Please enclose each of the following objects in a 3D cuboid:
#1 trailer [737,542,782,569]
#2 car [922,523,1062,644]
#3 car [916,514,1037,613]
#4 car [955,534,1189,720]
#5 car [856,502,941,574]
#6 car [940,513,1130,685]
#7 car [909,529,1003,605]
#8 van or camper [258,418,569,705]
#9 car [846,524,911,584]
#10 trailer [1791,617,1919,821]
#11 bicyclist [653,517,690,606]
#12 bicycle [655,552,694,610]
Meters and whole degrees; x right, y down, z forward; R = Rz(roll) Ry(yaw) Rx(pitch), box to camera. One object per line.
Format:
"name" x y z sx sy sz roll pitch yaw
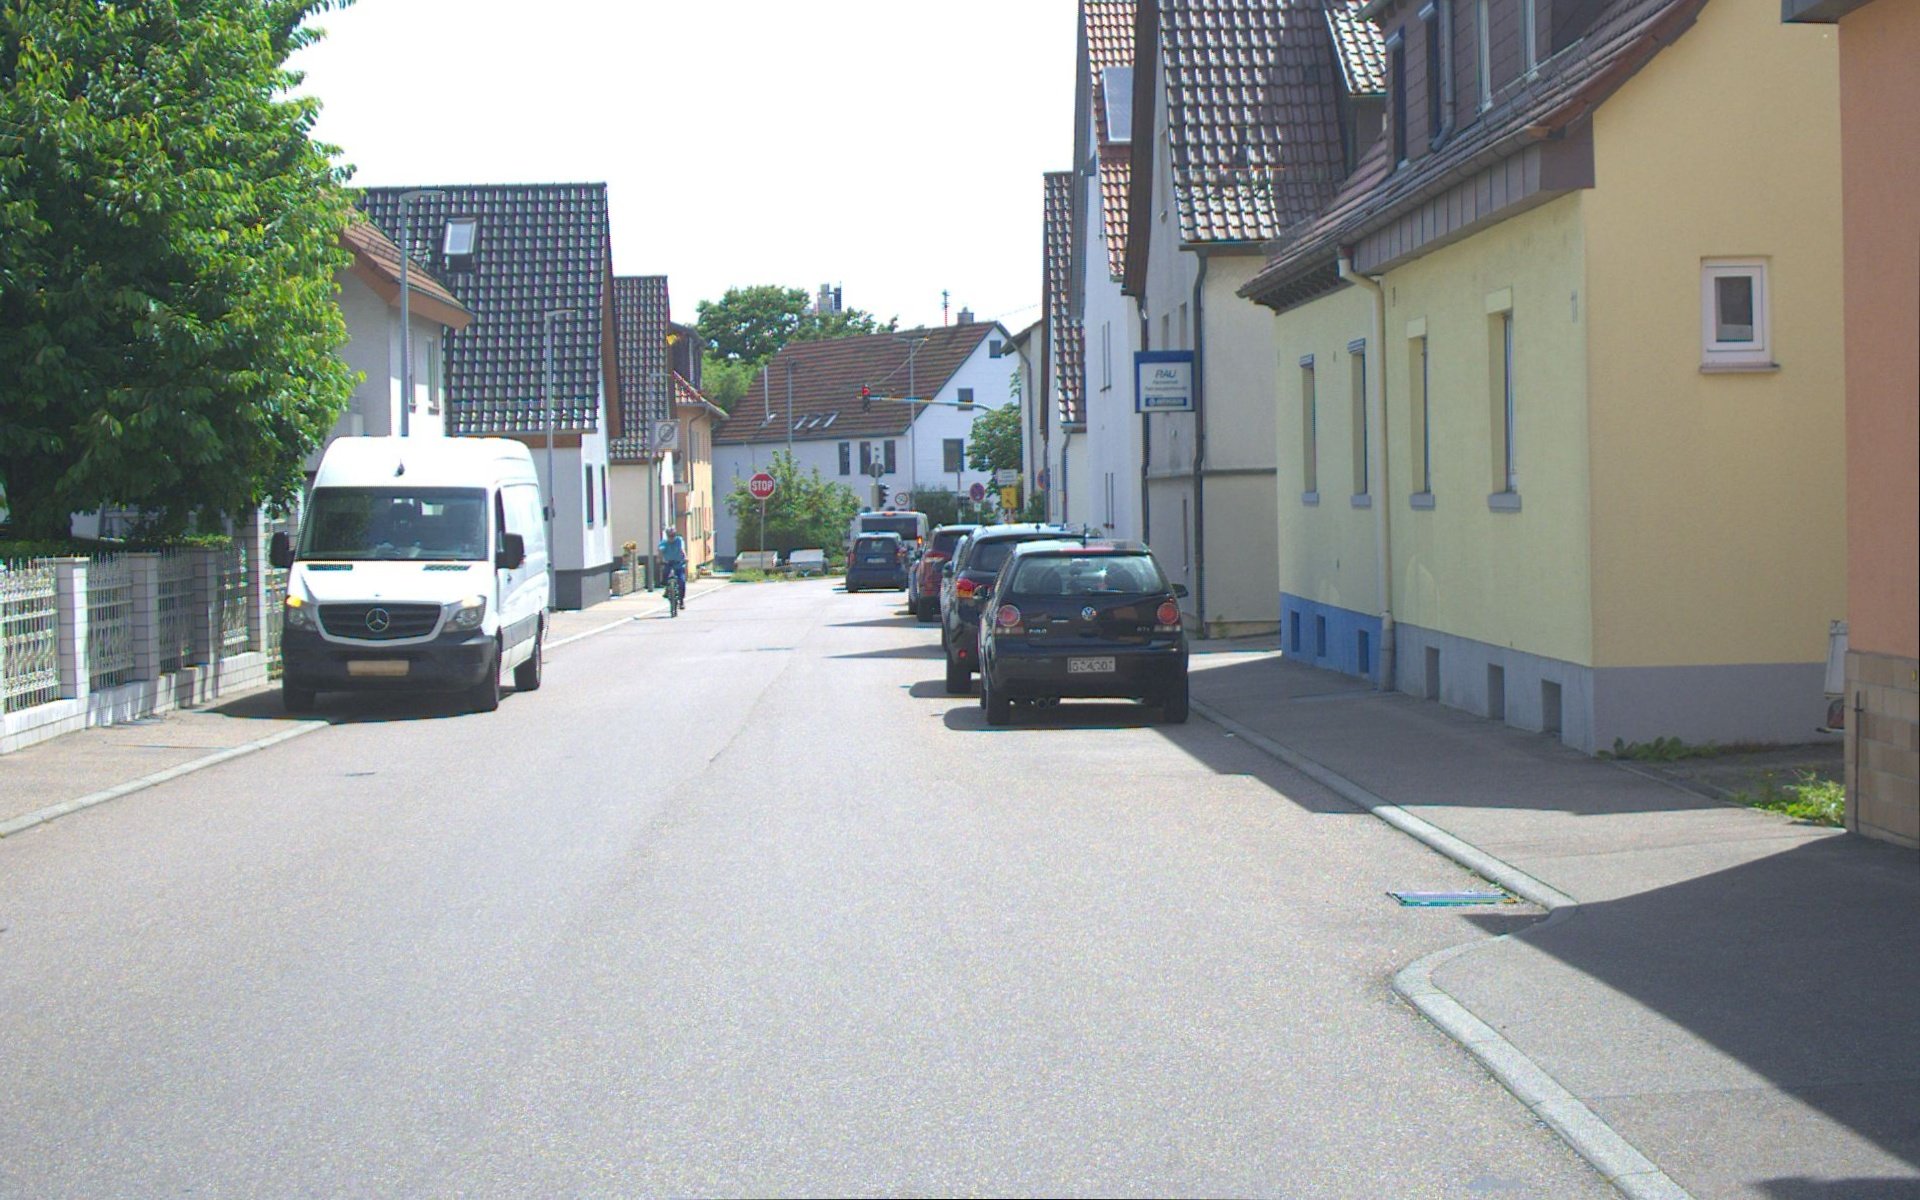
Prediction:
"trailer" -7.100 -1.577 121.912 1.501 0.924 1.012 1 1 0
"car" 0.396 -0.244 46.049 1.673 1.553 3.041 0 1 -3
"car" 0.260 -0.675 61.012 1.875 1.694 4.184 0 1 -3
"car" 0.867 0.173 28.558 1.610 1.426 3.755 0 1 -3
"car" -1.872 -1.934 106.333 2.129 2.151 4.736 -1 1 5
"car" 0.688 -0.060 34.112 1.728 1.594 4.253 0 1 -1
"car" -0.082 -0.678 67.259 1.763 1.419 4.592 -1 1 0
"van or camper" -5.266 -0.419 34.128 2.184 2.563 6.808 0 1 -2
"car" -2.172 -1.249 92.126 1.516 1.561 3.184 -1 1 2
"trailer" 5.181 0.534 16.331 2.135 0.896 1.243 -1 1 -31
"bicyclist" -5.821 -0.784 69.409 0.713 1.792 0.942 -1 1 -3
"bicycle" -5.755 -0.384 69.385 0.670 1.128 2.189 -1 1 -2
